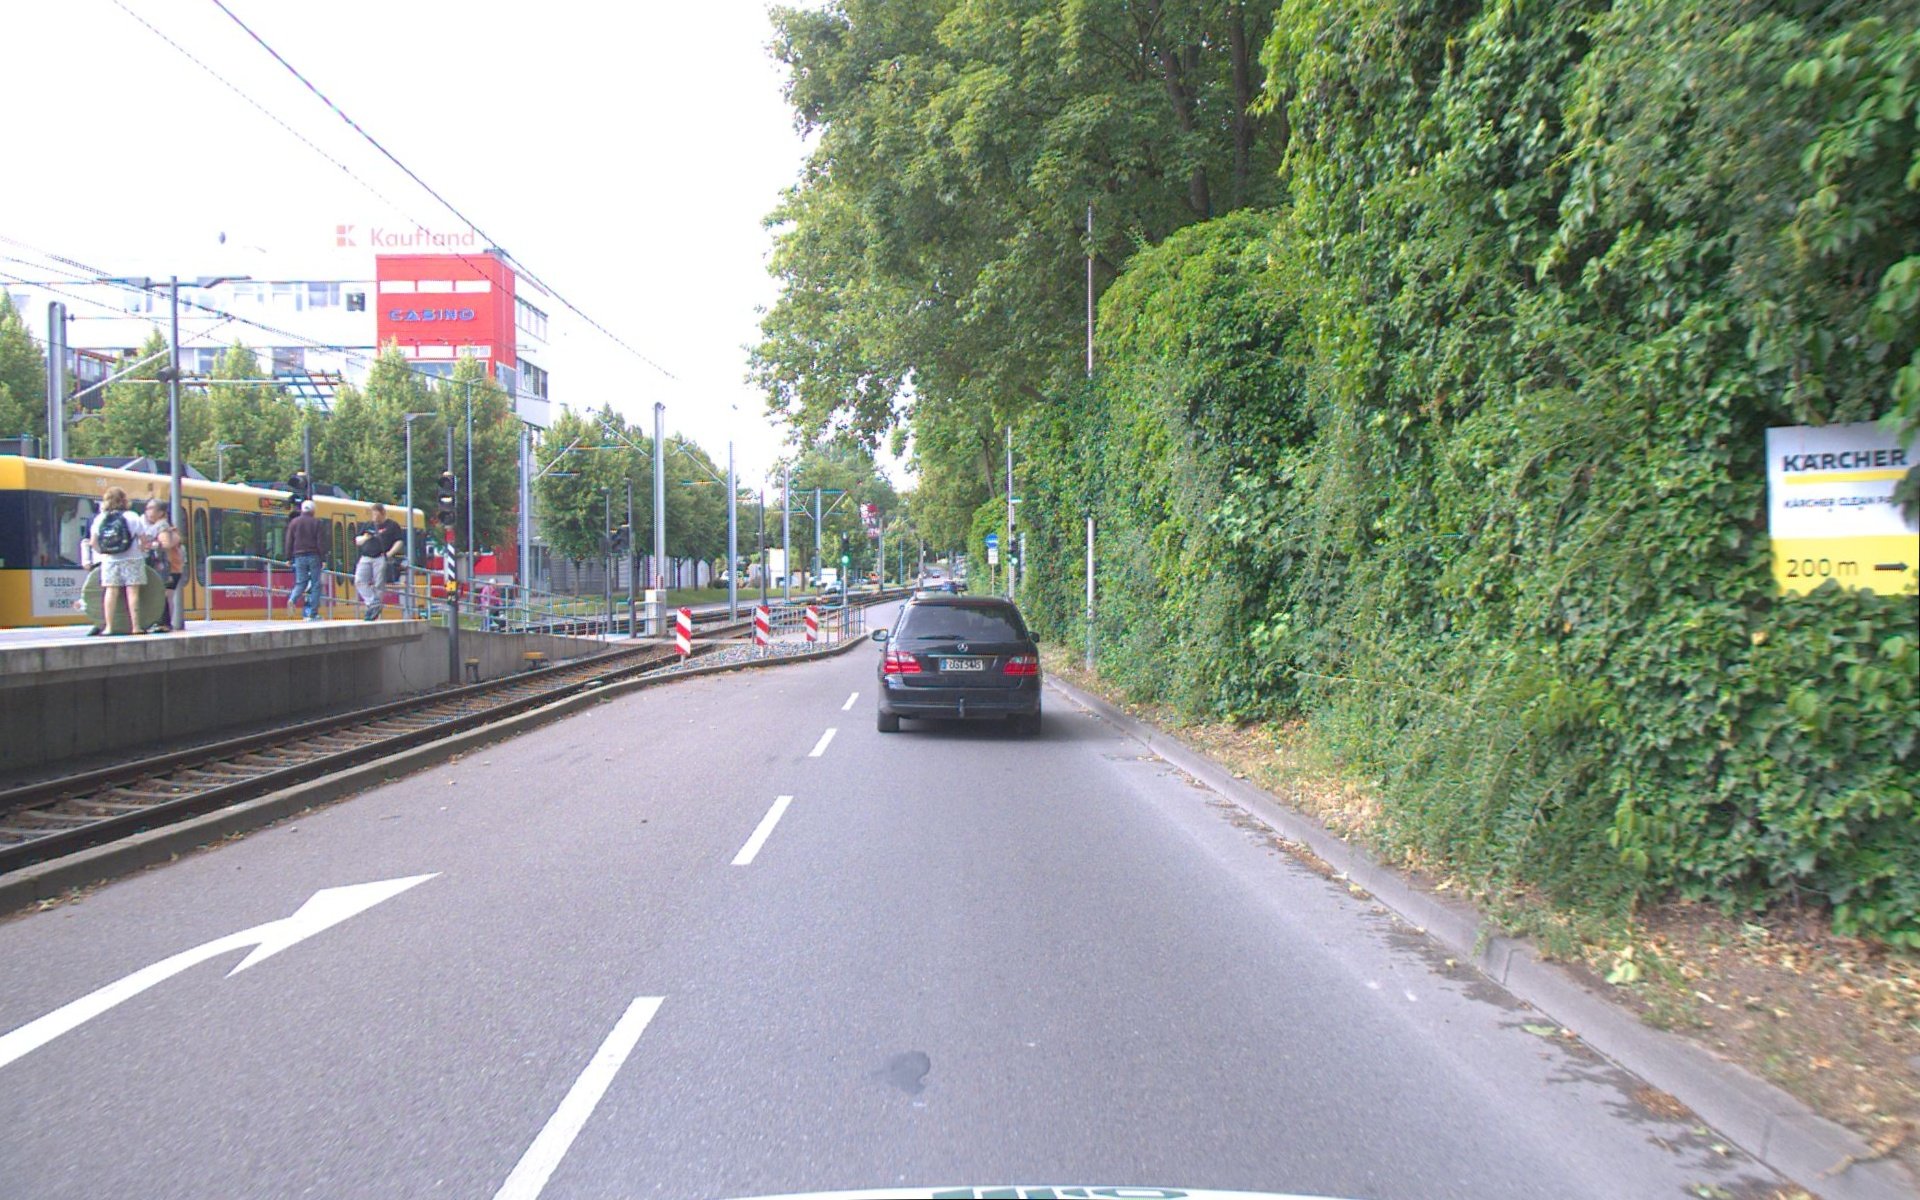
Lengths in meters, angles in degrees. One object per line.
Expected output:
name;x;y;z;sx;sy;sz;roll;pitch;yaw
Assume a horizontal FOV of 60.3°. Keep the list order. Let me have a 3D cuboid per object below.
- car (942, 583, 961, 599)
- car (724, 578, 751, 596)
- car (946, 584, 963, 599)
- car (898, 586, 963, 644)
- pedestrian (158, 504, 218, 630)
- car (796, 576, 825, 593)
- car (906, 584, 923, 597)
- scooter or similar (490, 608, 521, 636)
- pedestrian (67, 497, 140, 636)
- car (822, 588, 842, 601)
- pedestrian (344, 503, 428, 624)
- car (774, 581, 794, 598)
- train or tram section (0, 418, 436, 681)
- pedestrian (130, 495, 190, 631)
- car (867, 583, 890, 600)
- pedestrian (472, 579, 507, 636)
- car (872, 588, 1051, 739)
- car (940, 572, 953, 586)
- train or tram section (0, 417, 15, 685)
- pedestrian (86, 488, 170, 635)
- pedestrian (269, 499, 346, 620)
car;-0.804;-0.920;166.406;1.787;1.556;4.416;0;0;1
car;-23.492;-1.364;174.815;1.952;1.773;4.990;-1;1;3
car;-0.572;-0.967;184.912;1.787;1.556;3.928;0;1;1
car;-0.855;0.396;48.172;1.788;1.556;4.415;0;1;-1
pedestrian;-8.957;-0.385;19.200;0.469;1.430;0.411;-2;0;-2
car;-20.479;-2.071;226.791;3.910;2.160;1.998;-2;0;-6
car;-5.375;-1.144;195.269;1.787;1.556;3.987;0;1;1
scooter or similar;-13.574;0.649;49.387;0.485;0.781;0.799;-2;0;20
pedestrian;-9.496;-0.369;18.344;0.465;1.509;0.543;-2;0;4
car;-14.065;-0.594;181.565;1.625;1.417;3.721;0;0;4
pedestrian;-8.307;-0.529;23.949;0.732;1.707;0.870;-2;0;43
car;-21.813;-1.287;205.125;1.953;2.049;3.999;-2;0;-1
train or tram section;-15.281;-0.720;33.878;2.700;3.895;18.634;-3;0;1
pedestrian;-8.930;-0.409;18.481;0.353;1.490;0.639;0;0;-1
car;-7.444;-0.776;151.015;1.787;1.556;3.928;0;1;1
pedestrian;-14.102;0.224;49.585;0.600;1.683;0.796;-2;0;20
car;0.016;0.624;18.843;1.796;1.504;4.415;0;0;0
car;-1.969;-3.026;240.127;1.853;2.049;3.897;-2;0;-1
train or tram section;-15.598;-0.583;15.235;2.700;3.950;18.634;-3;0;1
pedestrian;-8.743;-0.401;17.384;0.511;1.508;0.579;-2;0;37
pedestrian;-9.452;-0.578;23.978;0.755;1.707;0.790;-2;0;-1
